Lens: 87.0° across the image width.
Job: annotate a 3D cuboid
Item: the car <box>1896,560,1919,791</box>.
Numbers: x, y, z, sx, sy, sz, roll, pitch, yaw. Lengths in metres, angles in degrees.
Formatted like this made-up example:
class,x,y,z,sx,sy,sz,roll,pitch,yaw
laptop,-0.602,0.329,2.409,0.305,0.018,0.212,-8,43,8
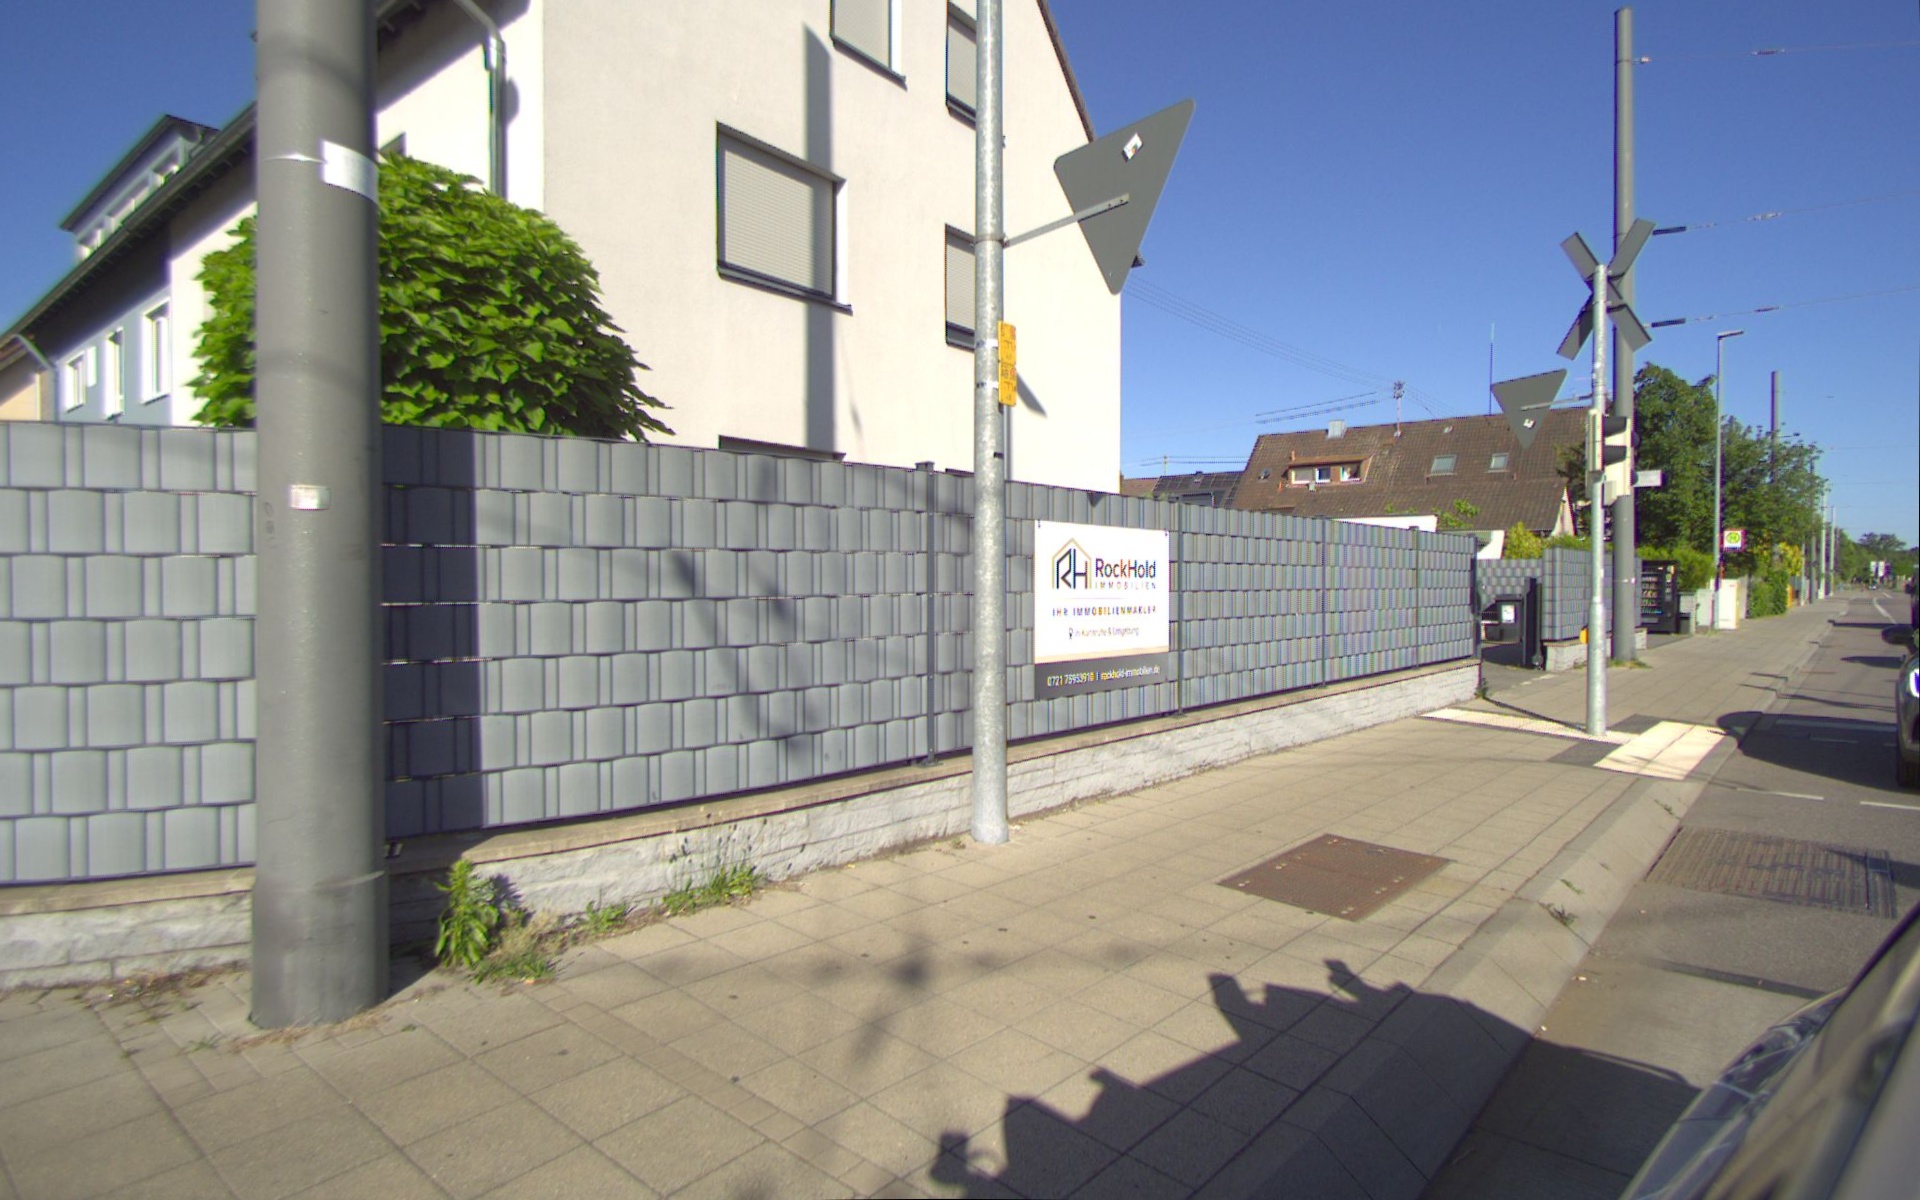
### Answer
class,x,y,z,sx,sy,sz,roll,pitch,yaw
car,8.603,0.497,7.885,1.824,1.599,3.940,-1,0,42

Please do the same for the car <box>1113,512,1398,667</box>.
class,x,y,z,sx,sy,sz,roll,pitch,yaw
car,5.252,-0.250,18.723,1.961,2.461,4.996,-2,2,-32
